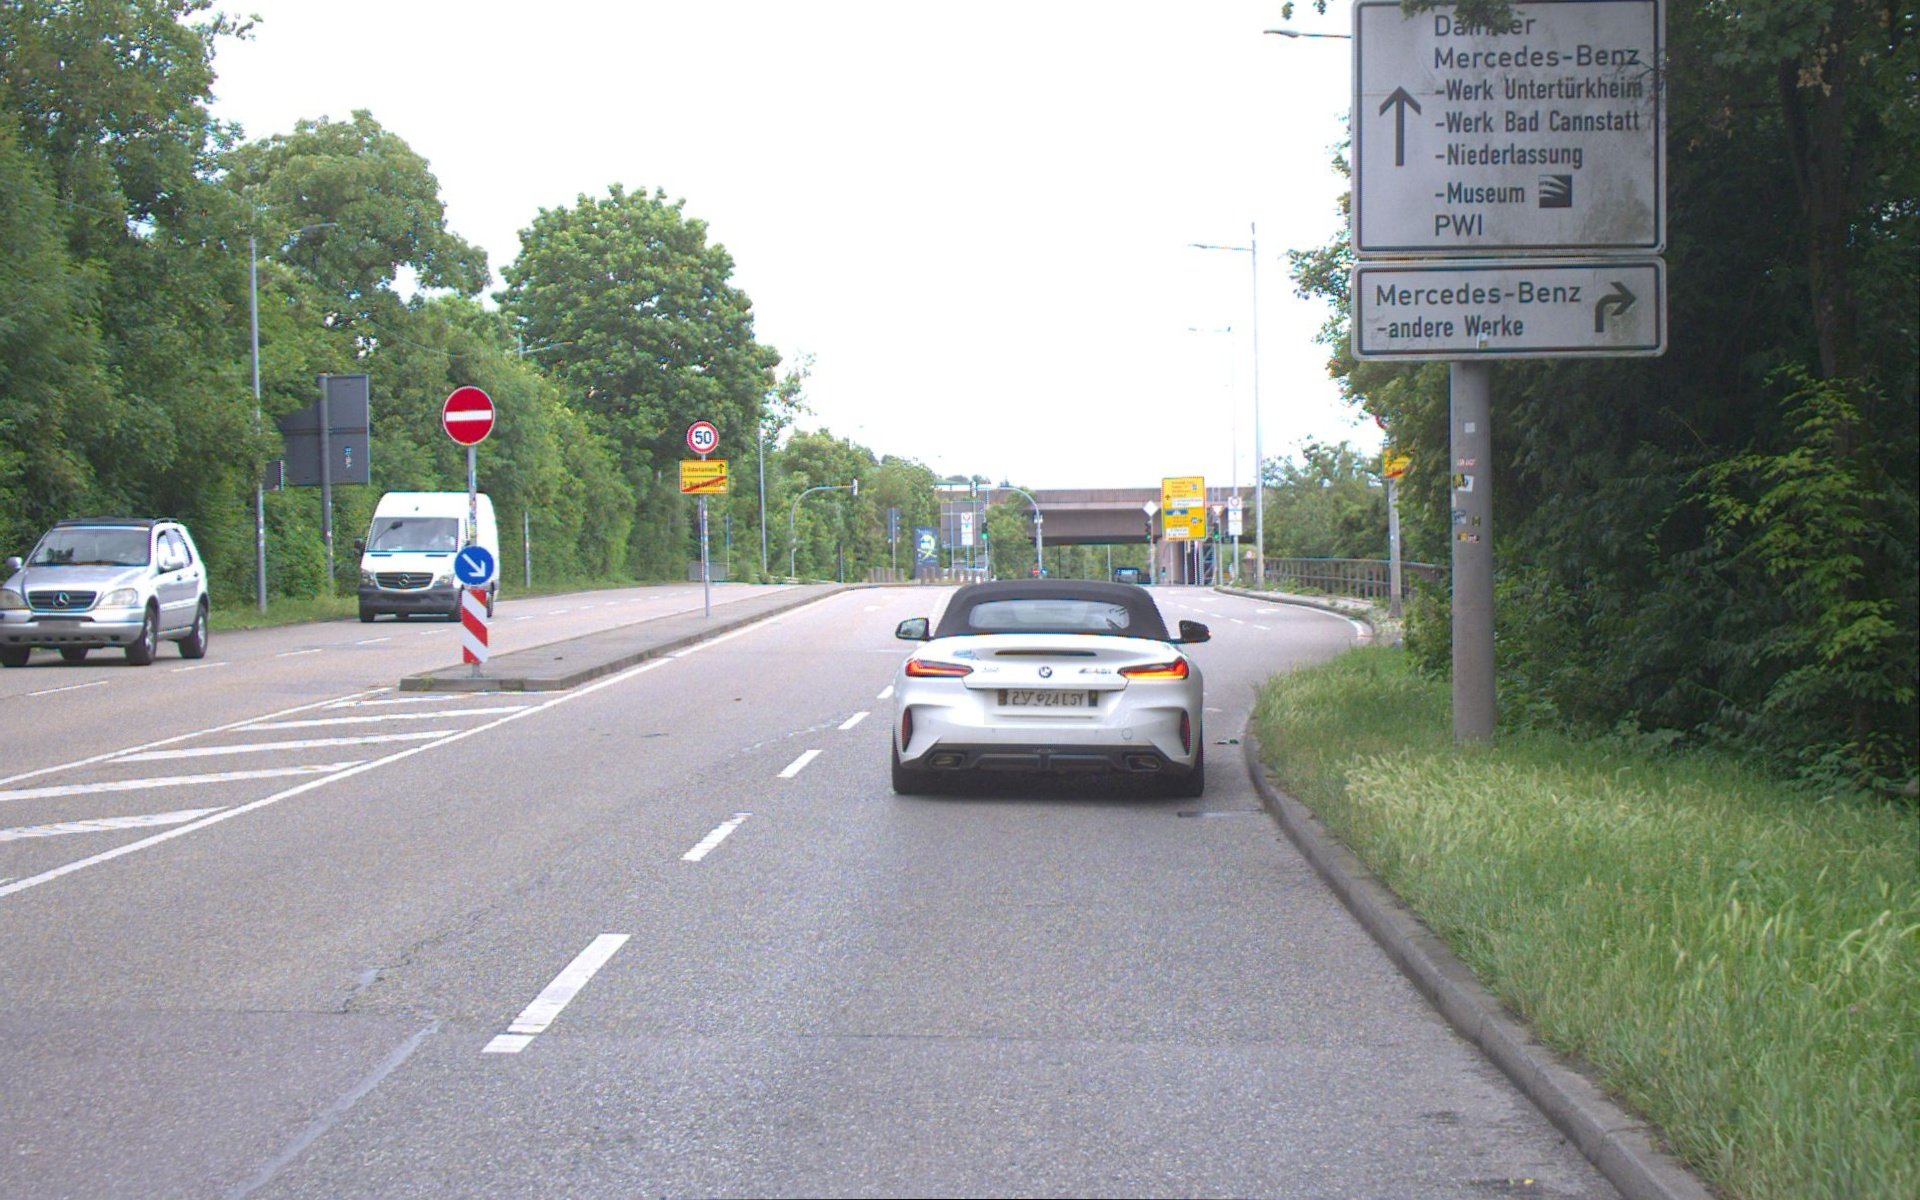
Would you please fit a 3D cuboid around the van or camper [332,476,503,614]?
[{"bbox_3d":[-10.777,-1.061,68.825,2.283,2.546,6.859,2,0,0],"label":"van or camper"}]

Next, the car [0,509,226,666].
[{"bbox_3d":[-10.561,-0.205,42.707,1.813,1.824,4.384,-1,2,1],"label":"car"}]

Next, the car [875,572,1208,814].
[{"bbox_3d":[0.462,0.517,21.636,1.875,1.305,3.873,-1,1,0],"label":"car"}]
